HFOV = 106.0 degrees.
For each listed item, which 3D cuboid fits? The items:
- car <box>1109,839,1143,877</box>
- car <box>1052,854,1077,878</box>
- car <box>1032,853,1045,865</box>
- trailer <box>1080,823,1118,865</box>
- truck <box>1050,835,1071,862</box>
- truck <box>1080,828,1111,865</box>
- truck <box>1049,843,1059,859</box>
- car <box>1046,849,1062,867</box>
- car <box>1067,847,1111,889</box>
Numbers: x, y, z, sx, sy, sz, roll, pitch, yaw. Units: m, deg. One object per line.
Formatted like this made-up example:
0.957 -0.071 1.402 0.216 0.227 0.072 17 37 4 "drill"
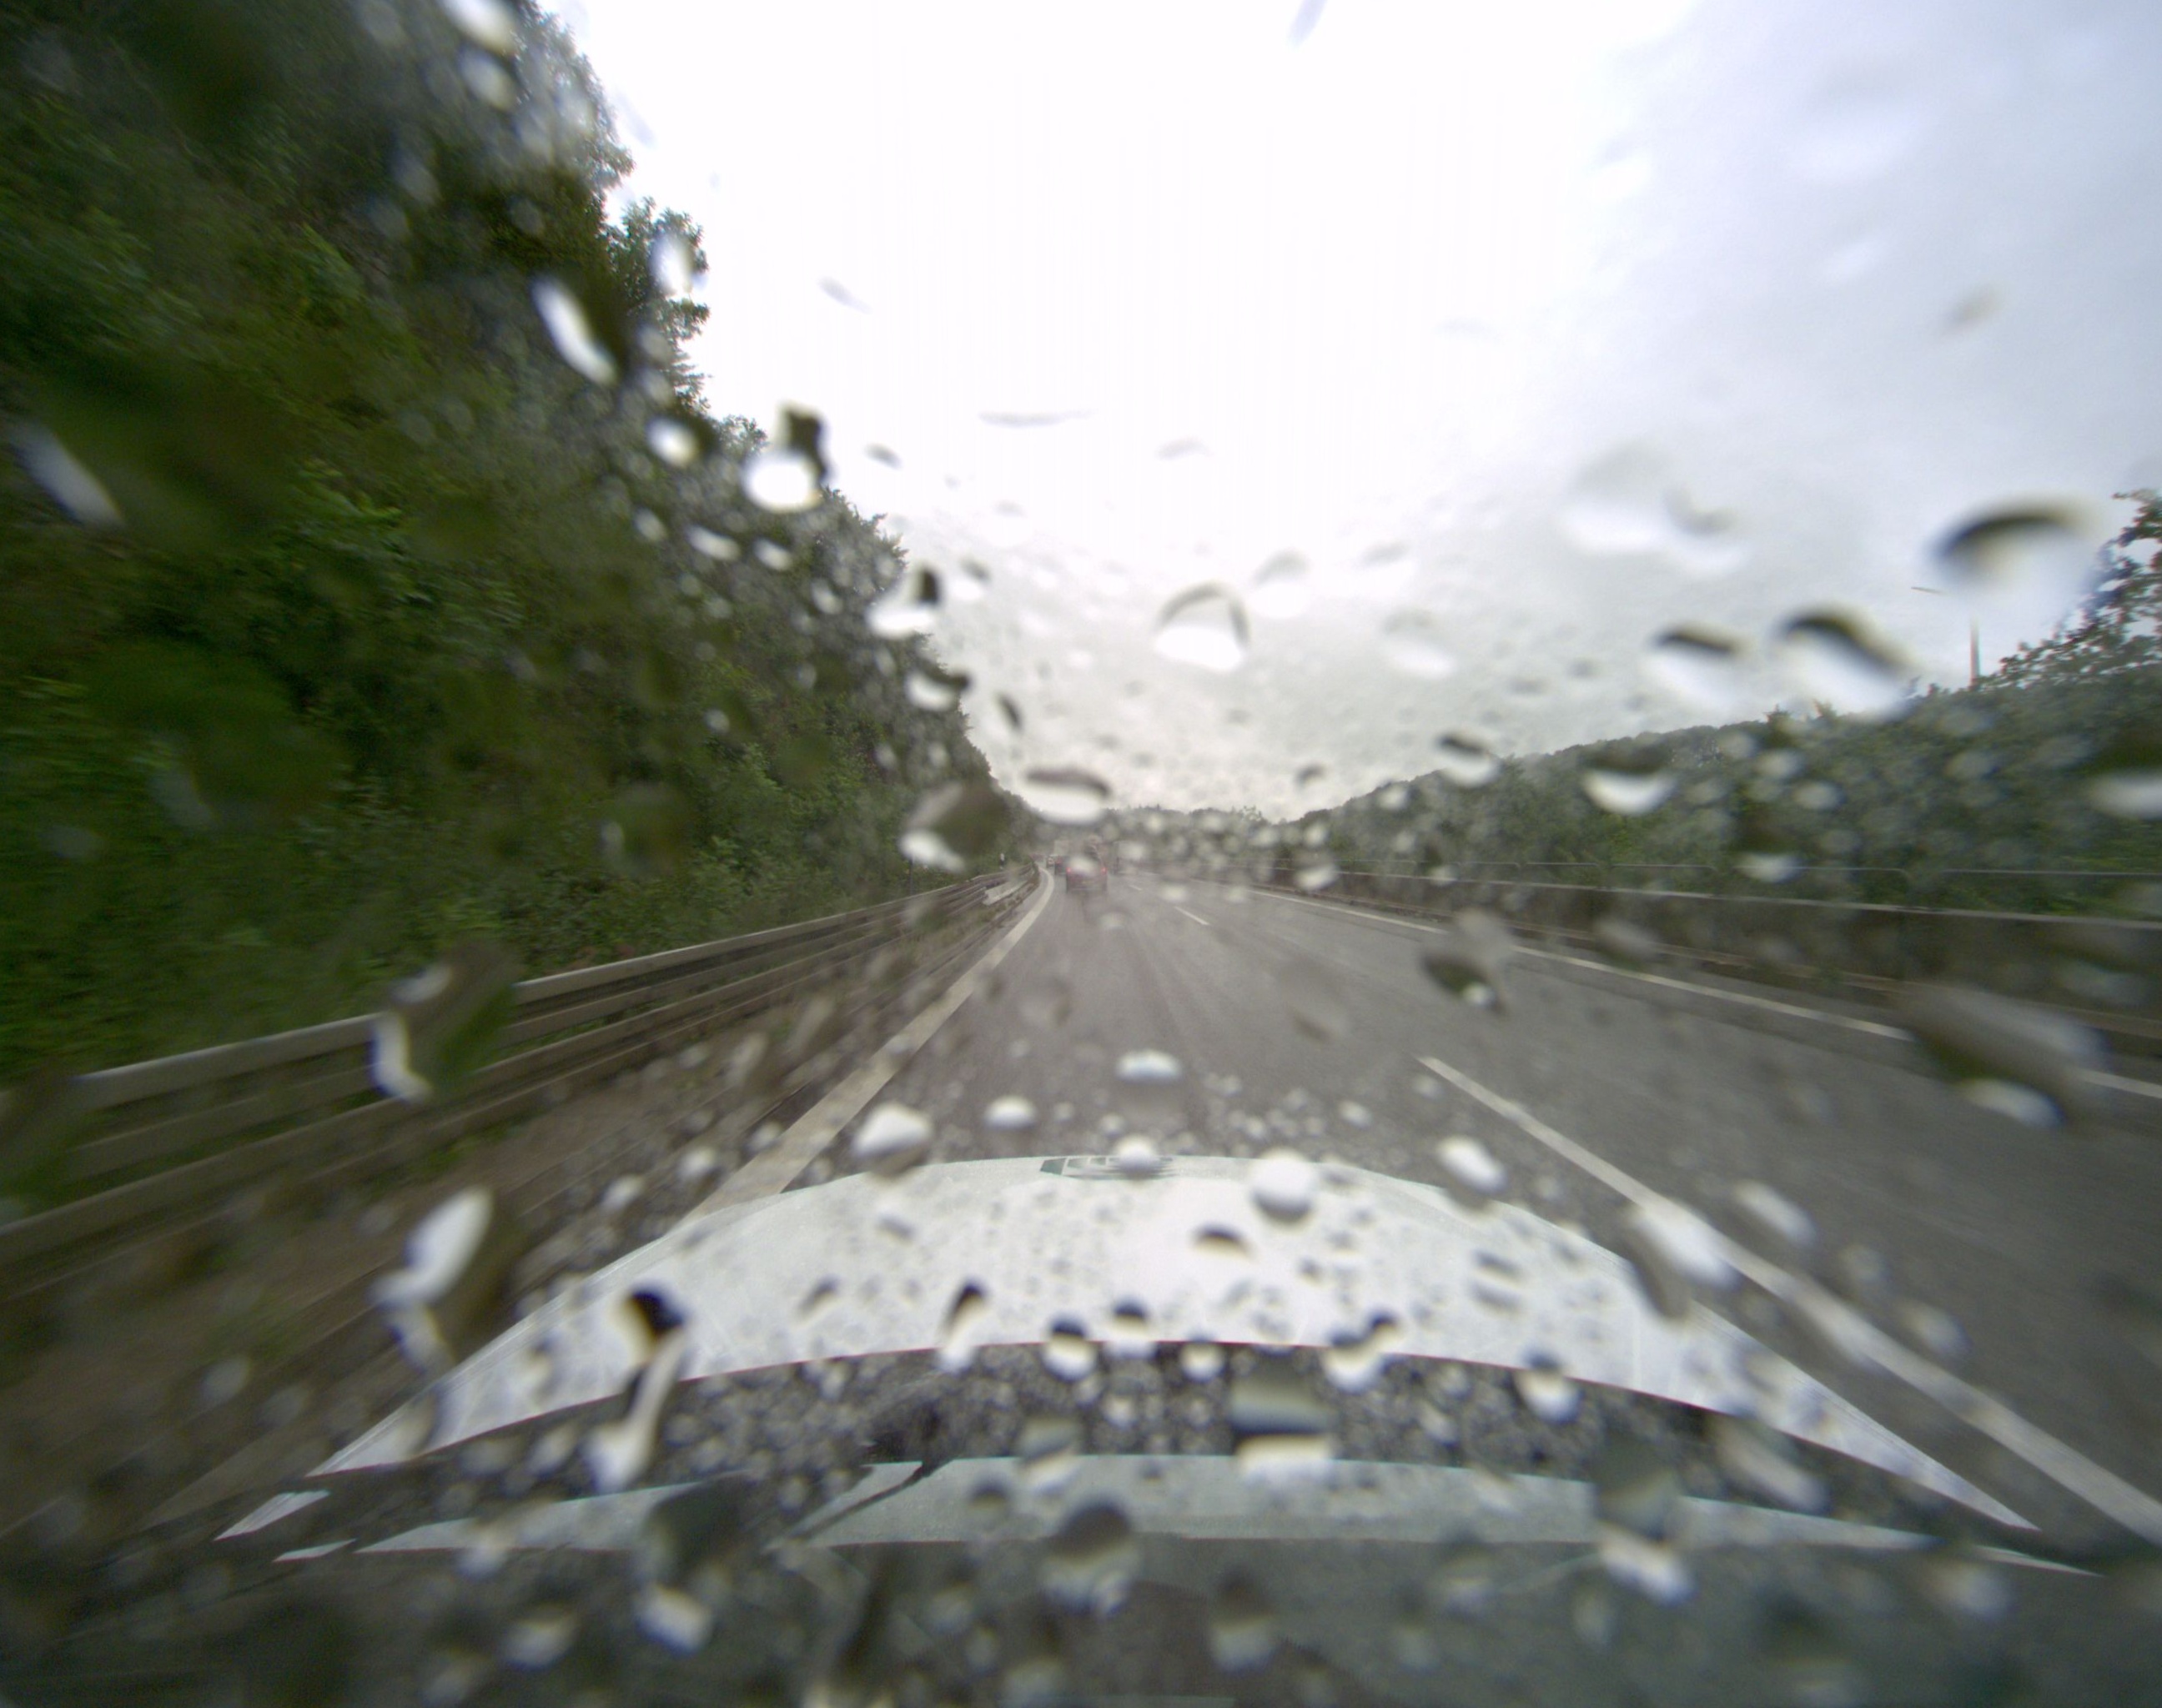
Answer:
3.565 0.314 65.608 2.199 2.794 7.380 3 0 0 "car"
-1.237 0.896 62.030 1.817 1.696 3.999 -1 -1 -1 "car"
-7.126 0.819 136.543 1.987 2.014 3.999 -1 -1 0 "car"
1.778 -0.969 86.311 3.210 3.999 13.514 2 0 -2 "trailer"
-3.704 -0.871 143.697 3.217 4.682 8.286 -1 -1 -5 "truck"
1.578 -0.799 93.182 3.211 3.978 5.434 2 0 -2 "truck"
-6.062 -0.650 180.150 2.100 3.420 6.215 -1 -1 -3 "truck"
-2.882 0.408 86.611 1.712 1.817 3.888 -1 -1 -3 "car"
0.319 0.586 34.969 1.752 1.684 3.999 -1 -1 0 "car"
